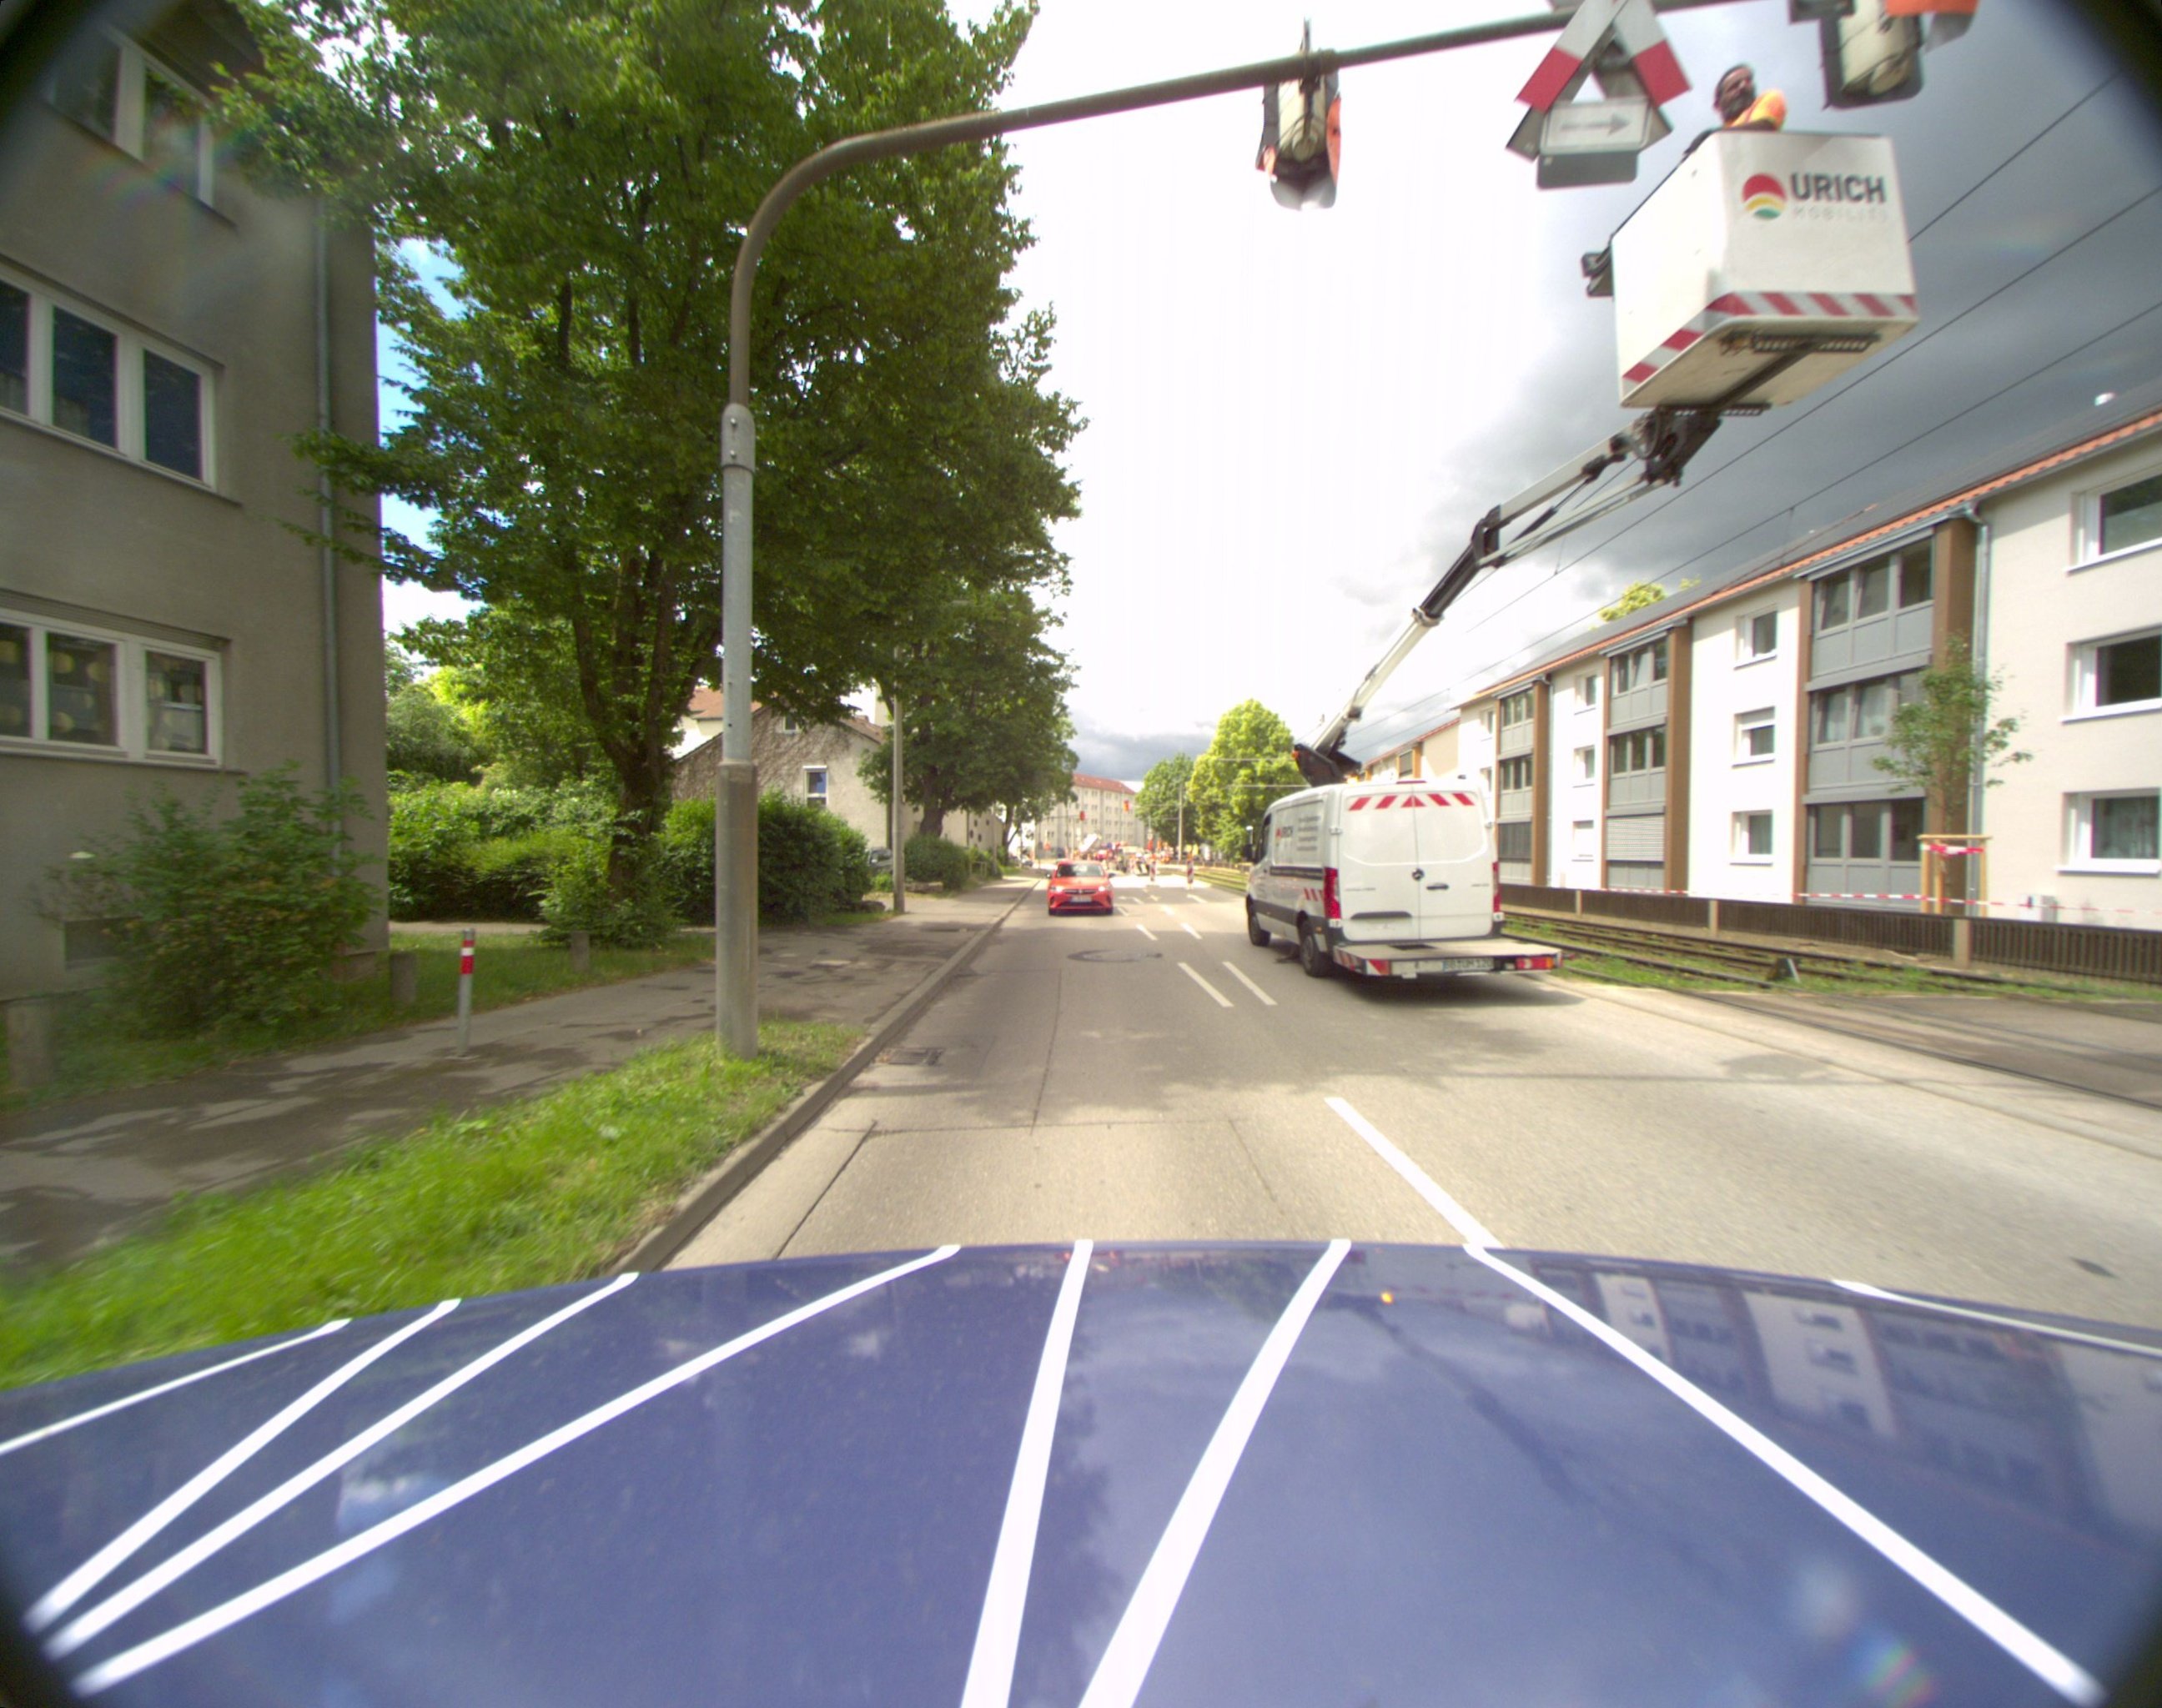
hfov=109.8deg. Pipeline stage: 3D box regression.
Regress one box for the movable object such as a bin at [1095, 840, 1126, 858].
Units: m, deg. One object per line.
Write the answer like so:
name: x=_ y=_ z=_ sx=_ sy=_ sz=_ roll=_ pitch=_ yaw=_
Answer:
movable object such as a bin: x=4.567 y=-0.776 z=116.366 sx=2.110 sy=2.653 sz=5.598 roll=1 pitch=2 yaw=32

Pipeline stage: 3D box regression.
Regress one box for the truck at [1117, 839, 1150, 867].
truck: x=5.165 y=-0.123 z=76.383 sx=2.669 sy=2.709 sz=6.394 roll=-1 pitch=0 yaw=-2

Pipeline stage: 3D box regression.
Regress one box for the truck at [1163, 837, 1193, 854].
truck: x=14.859 y=-1.259 z=115.555 sx=2.412 sy=2.553 sz=5.594 roll=1 pitch=1 yaw=32

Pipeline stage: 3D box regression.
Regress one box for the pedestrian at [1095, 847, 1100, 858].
pedestrian: x=2.597 y=-0.237 z=118.005 sx=0.611 sy=1.778 sz=0.583 roll=-1 pitch=0 yaw=30

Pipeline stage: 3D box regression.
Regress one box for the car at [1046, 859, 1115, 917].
car: x=0.040 y=0.918 z=21.893 sx=1.769 sy=1.425 sz=3.839 roll=-2 pitch=0 yaw=2

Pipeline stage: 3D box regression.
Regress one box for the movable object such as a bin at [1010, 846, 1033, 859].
movable object such as a bin: x=-9.417 y=-0.236 z=120.516 sx=2.959 sy=2.002 sz=2.004 roll=1 pitch=1 yaw=36

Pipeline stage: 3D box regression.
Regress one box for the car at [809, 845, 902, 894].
car: x=-8.346 y=0.520 z=28.462 sx=1.815 sy=1.640 sz=4.002 roll=1 pitch=1 yaw=8

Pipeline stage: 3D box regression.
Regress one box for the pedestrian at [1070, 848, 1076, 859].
pedestrian: x=-1.314 y=-0.093 z=125.870 sx=0.882 sy=1.897 sz=0.665 roll=-1 pitch=2 yaw=-28

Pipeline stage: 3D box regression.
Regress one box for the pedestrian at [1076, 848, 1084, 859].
pedestrian: x=-0.197 y=-0.098 z=125.015 sx=0.872 sy=1.813 sz=1.098 roll=1 pitch=1 yaw=26

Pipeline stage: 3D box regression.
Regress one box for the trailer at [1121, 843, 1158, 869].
trailer: x=5.320 y=0.171 z=70.086 sx=2.669 sy=2.201 sz=6.246 roll=-1 pitch=0 yaw=-2

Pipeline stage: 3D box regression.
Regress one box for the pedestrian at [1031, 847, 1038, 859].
pedestrian: x=-7.333 y=-0.188 z=119.163 sx=0.767 sy=1.828 sz=0.785 roll=1 pitch=1 yaw=25

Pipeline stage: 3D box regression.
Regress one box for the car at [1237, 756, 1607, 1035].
car: x=3.655 y=0.362 z=9.850 sx=1.998 sy=2.416 sz=6.321 roll=-1 pitch=0 yaw=1

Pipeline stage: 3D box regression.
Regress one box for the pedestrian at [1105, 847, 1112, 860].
pedestrian: x=3.950 y=-0.023 z=108.833 sx=0.796 sy=1.822 sz=0.970 roll=0 pitch=2 yaw=-10

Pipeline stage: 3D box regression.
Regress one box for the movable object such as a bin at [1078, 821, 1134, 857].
movable object such as a bin: x=4.044 y=-2.322 z=121.610 sx=9.054 sy=5.453 sz=2.813 roll=1 pitch=0 yaw=-35
